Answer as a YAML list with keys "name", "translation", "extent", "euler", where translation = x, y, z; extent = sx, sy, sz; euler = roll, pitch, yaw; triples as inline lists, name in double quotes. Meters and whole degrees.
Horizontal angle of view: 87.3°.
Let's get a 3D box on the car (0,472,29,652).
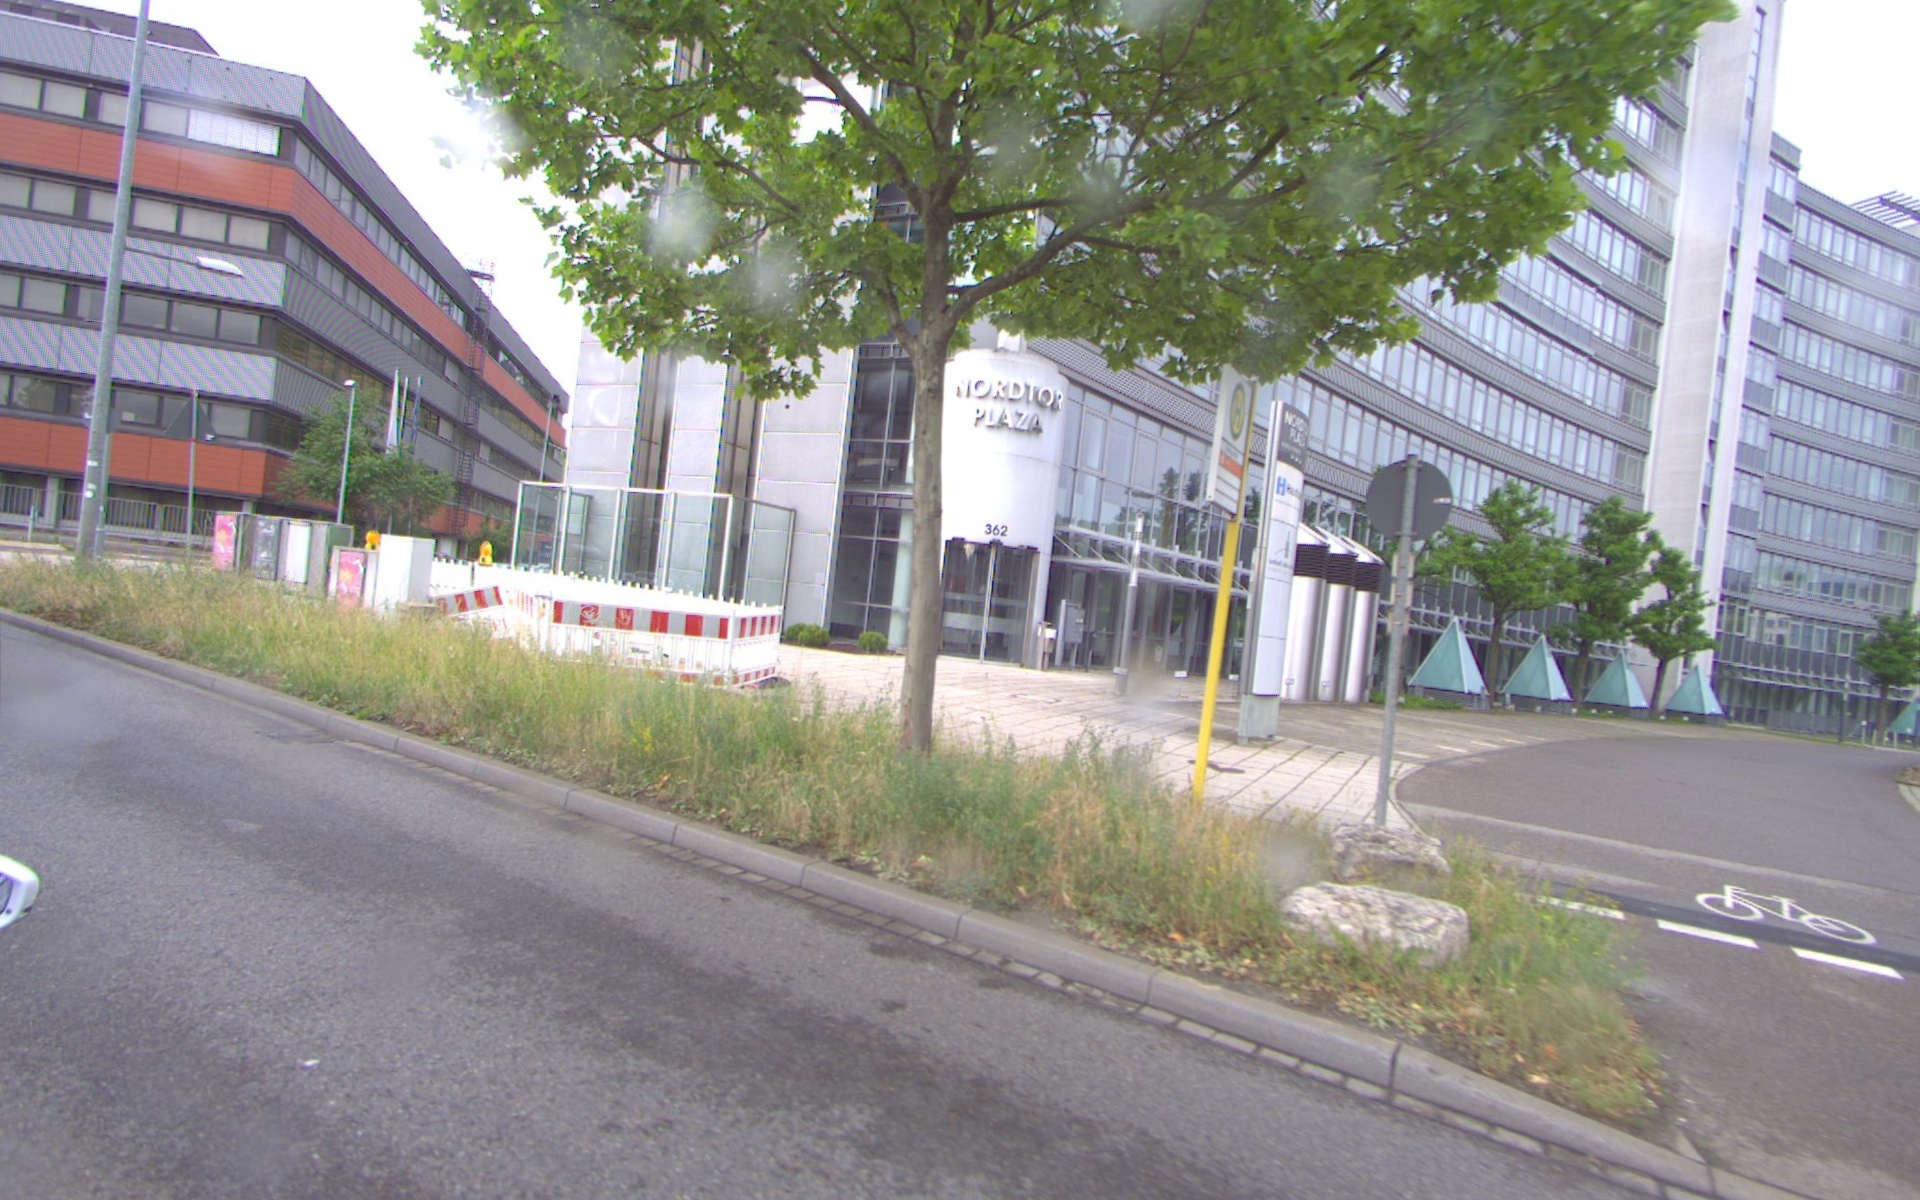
- name: "car"
  translation: [-11.066, -0.577, 9.743]
  extent: [3.933, 1.675, 1.833]
  euler: [5, -2, 30]
